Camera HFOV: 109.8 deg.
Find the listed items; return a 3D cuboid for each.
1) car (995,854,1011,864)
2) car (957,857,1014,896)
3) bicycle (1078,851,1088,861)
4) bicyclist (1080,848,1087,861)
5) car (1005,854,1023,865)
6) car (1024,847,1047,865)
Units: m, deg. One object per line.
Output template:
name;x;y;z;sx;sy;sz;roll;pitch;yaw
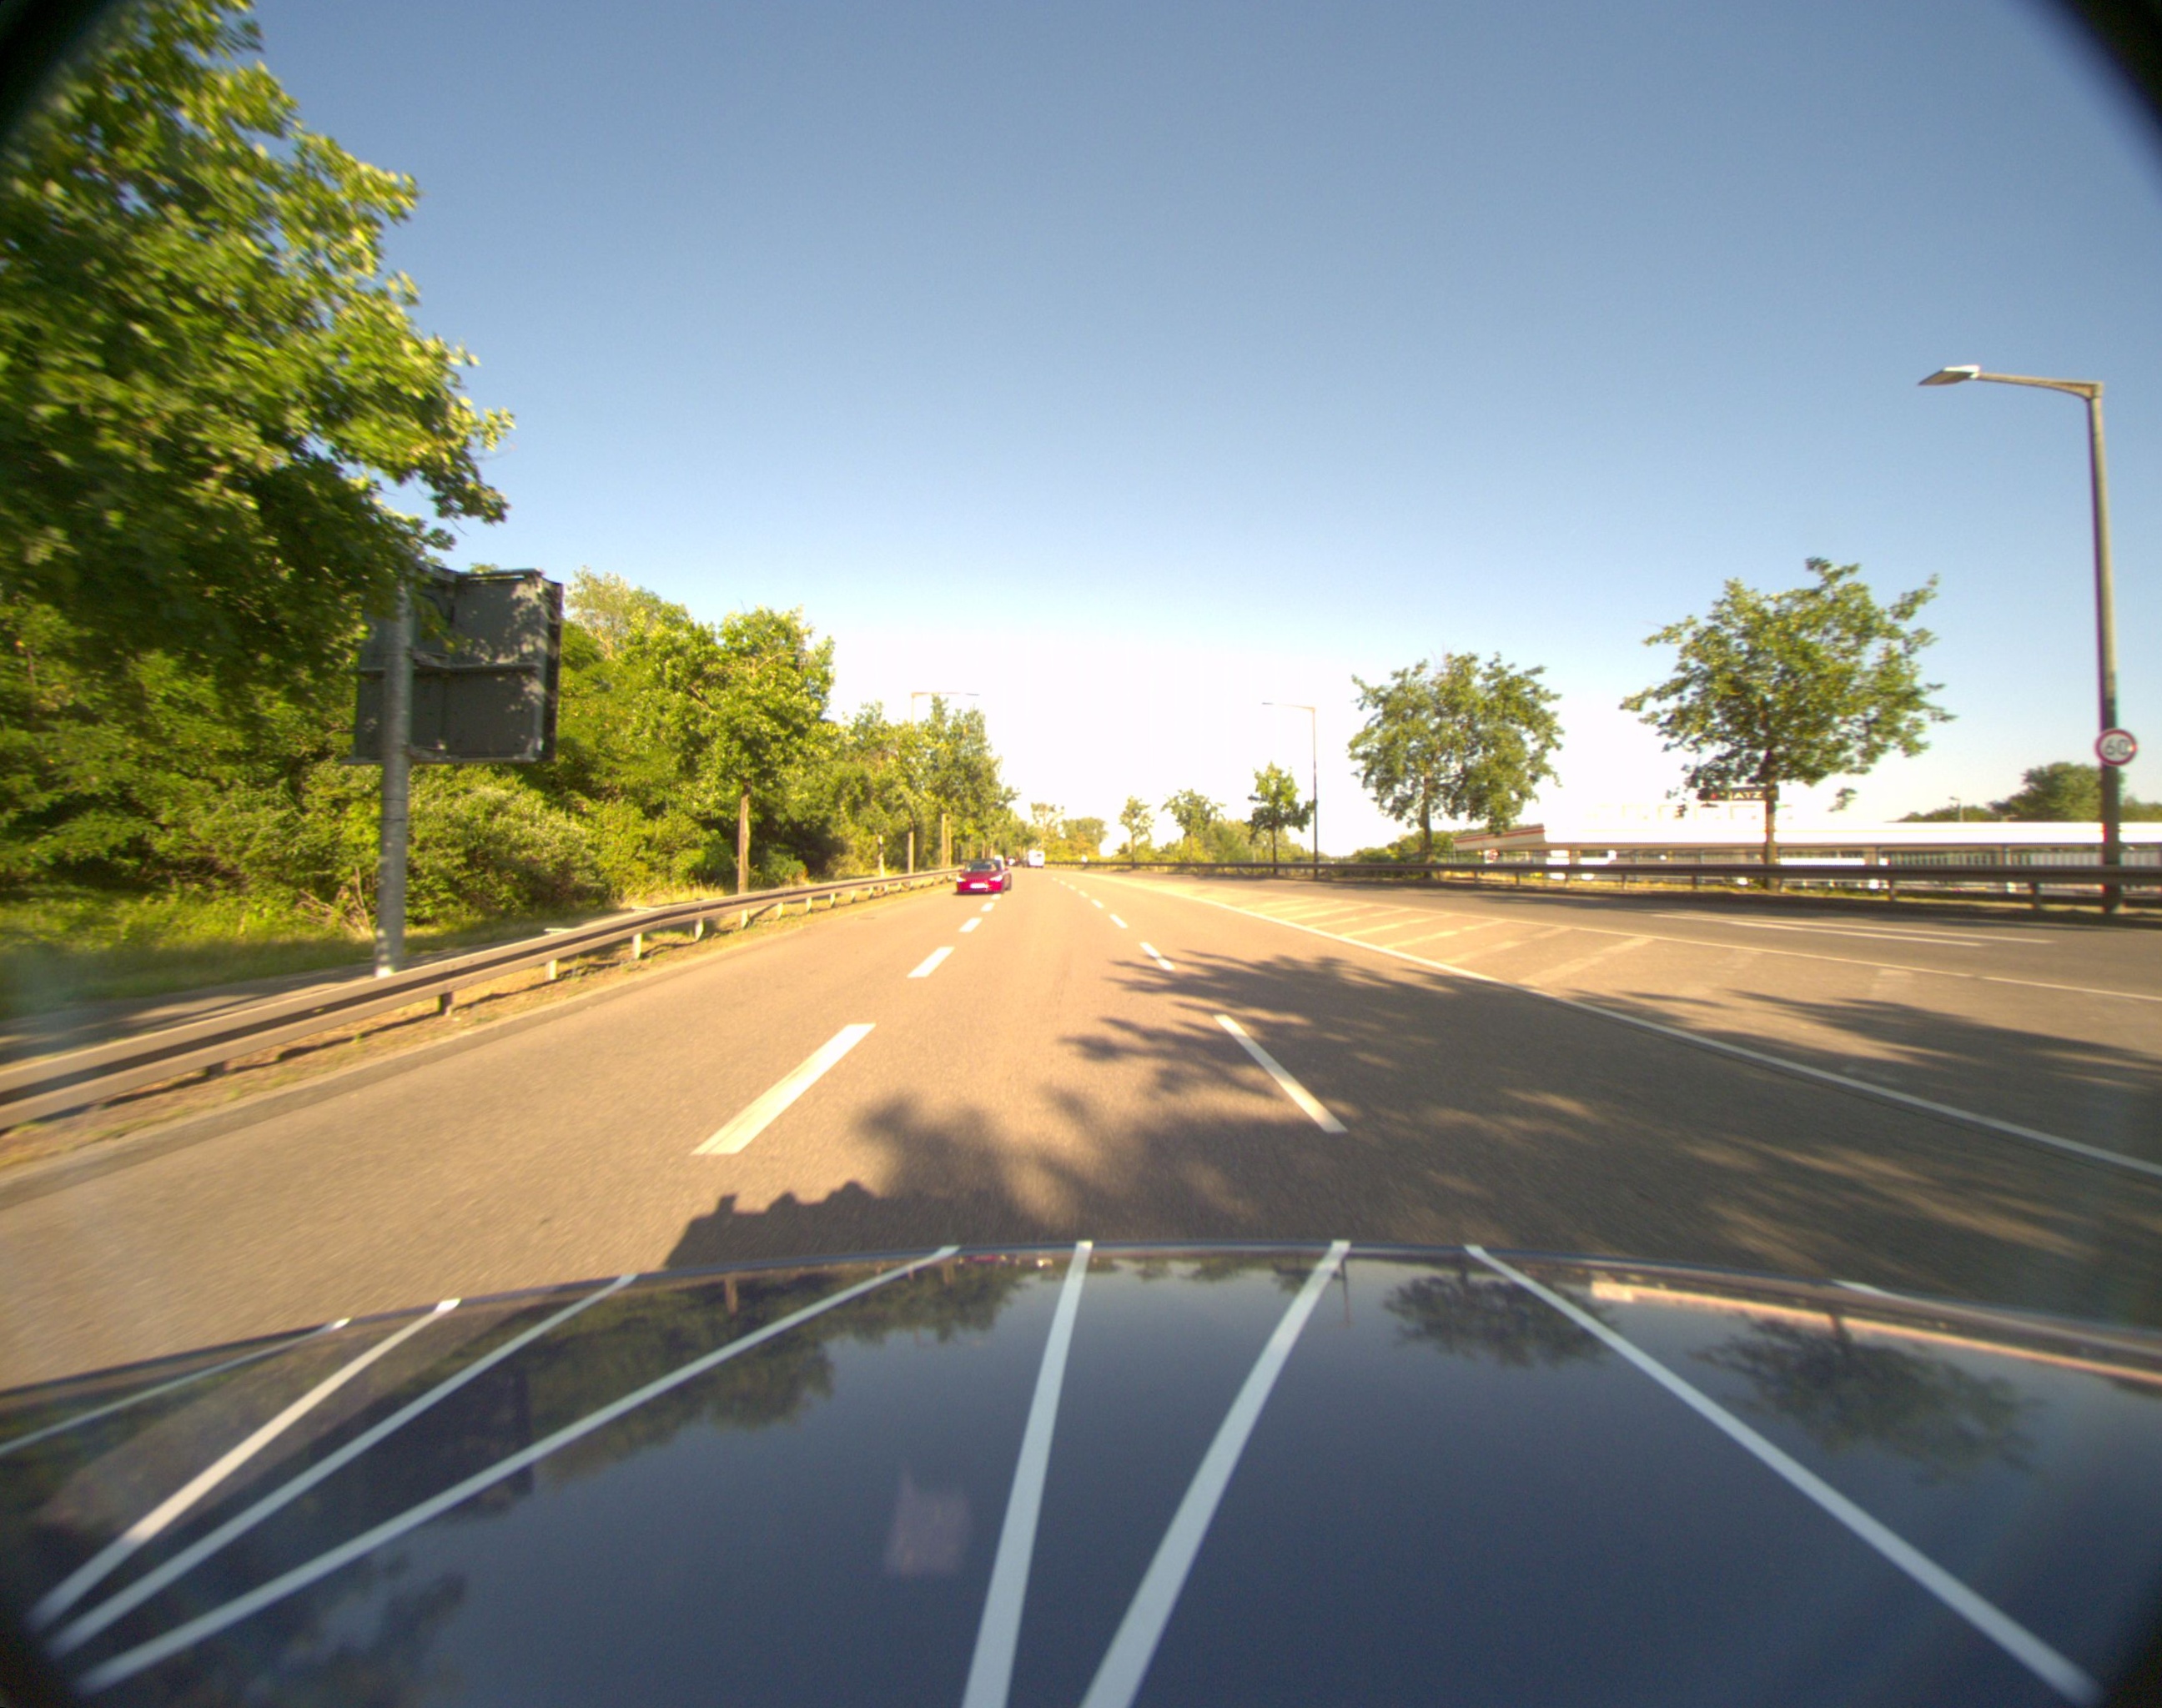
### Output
car;-12.876;0.776;125.123;1.835;1.580;4.642;0;1;-15
car;-3.863;0.875;31.396;1.782;1.434;4.359;-1;1;-1
bicycle;0.240;0.254;88.623;0.584;1.070;2.310;2;0;-13
bicyclist;0.309;0.061;88.437;0.601;1.450;0.827;2;1;-13
car;-9.377;0.770;106.321;1.779;1.457;4.377;-1;0;-15
car;-5.405;0.197;90.014;1.885;2.002;5.253;-2;1;-12
